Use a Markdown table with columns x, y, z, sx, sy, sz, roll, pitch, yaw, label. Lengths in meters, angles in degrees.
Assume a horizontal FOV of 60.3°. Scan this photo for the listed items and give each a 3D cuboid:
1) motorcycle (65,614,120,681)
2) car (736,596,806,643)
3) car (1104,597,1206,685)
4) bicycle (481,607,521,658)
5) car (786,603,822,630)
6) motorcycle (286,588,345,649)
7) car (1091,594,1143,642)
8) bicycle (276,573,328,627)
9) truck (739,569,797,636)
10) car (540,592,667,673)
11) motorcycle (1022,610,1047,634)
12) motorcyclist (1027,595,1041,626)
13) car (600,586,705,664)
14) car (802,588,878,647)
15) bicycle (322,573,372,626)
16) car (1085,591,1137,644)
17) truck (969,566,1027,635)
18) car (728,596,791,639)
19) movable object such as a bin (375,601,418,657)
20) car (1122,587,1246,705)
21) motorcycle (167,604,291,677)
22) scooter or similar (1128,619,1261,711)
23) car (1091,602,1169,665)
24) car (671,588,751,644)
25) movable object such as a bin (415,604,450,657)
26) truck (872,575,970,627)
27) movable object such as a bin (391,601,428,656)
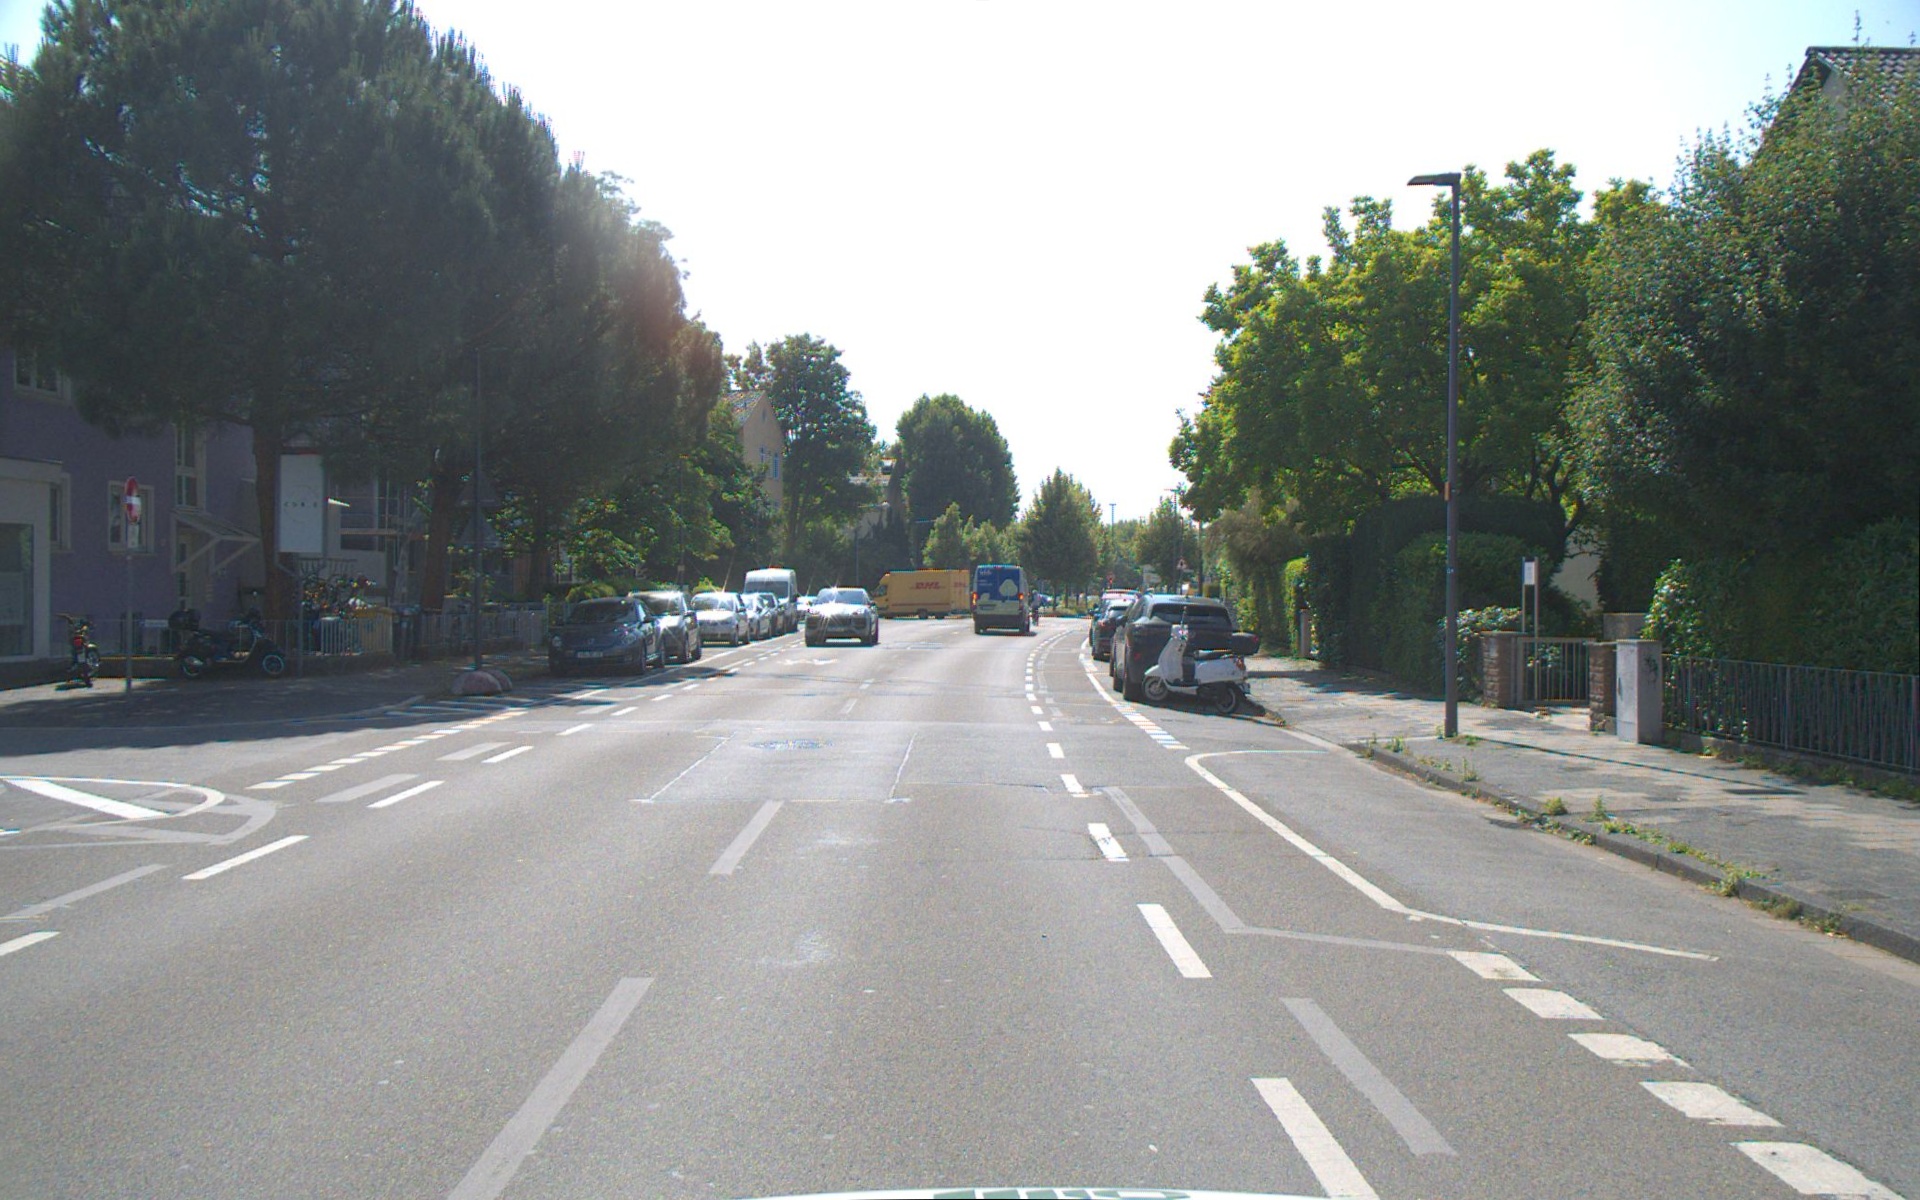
| x | y | z | sx | sy | sz | roll | pitch | yaw | label |
| --- | --- | --- | --- | --- | --- | --- | --- | --- | --- |
| -14.198 | 0.758 | 27.117 | 0.632 | 1.008 | 2.338 | 1 | 0 | -24 | motorcycle |
| -6.343 | 0.642 | 55.885 | 1.796 | 1.522 | 3.655 | 0 | 0 | 3 | car |
| 3.773 | 0.762 | 32.536 | 1.673 | 1.540 | 3.903 | 3 | 0 | 3 | car |
| -10.890 | 0.765 | 39.271 | 0.365 | 1.166 | 1.977 | 0 | -1 | 1 | bicycle |
| -8.303 | 0.866 | 88.425 | 1.719 | 1.367 | 3.652 | 0 | 0 | -2 | car |
| -12.945 | 0.369 | 33.255 | 0.525 | 1.202 | 1.447 | 0 | -1 | 4 | motorcycle |
| 5.765 | 0.641 | 61.165 | 1.665 | 1.706 | 3.775 | 0 | 0 | 2 | car |
| -15.147 | -0.002 | 38.091 | 0.525 | 1.202 | 1.447 | 0 | 1 | 4 | bicycle |
| -7.685 | 0.111 | 66.698 | 2.039 | 2.582 | 5.462 | 0 | 0 | -4 | truck |
| -7.001 | 0.616 | 32.868 | 1.745 | 1.485 | 4.084 | -1 | 0 | -2 | car |
| 3.642 | 1.077 | 81.141 | 1.035 | 1.142 | 2.991 | 0 | -1 | -1 | motorcycle |
| 3.615 | 0.522 | 81.060 | 0.658 | 1.545 | 0.652 | 0 | -1 | -1 | motorcyclist |
| -7.093 | 0.539 | 38.582 | 1.871 | 1.706 | 4.256 | 0 | 0 | -3 | car |
| -3.583 | 0.505 | 50.168 | 1.953 | 1.686 | 4.604 | 0 | 0 | 0 | car |
| -14.238 | -0.006 | 38.442 | 0.525 | 1.202 | 1.447 | 0 | -1 | 4 | bicycle |
| 5.139 | 0.581 | 55.893 | 1.664 | 1.706 | 3.777 | 0 | 0 | 6 | car |
| 1.516 | 0.035 | 65.699 | 2.225 | 2.616 | 4.393 | 0 | -1 | 2 | truck |
| -7.337 | 0.635 | 60.758 | 1.718 | 1.522 | 3.655 | 0 | 0 | 3 | car |
| -11.397 | 0.584 | 33.479 | 0.592 | 1.131 | 0.663 | 0 | -1 | 4 | movable object such as a bin |
| 3.522 | 0.698 | 26.673 | 1.747 | 1.667 | 4.473 | 2 | 0 | 5 | car |
| -12.347 | 0.684 | 27.960 | 1.800 | 1.202 | 0.643 | 0 | -1 | 4 | motorcycle |
| 3.359 | 0.930 | 23.788 | 1.767 | 1.174 | 0.715 | 4 | -1 | 44 | scooter or similar |
| 4.237 | 0.819 | 41.799 | 1.747 | 1.424 | 4.326 | 3 | 0 | 4 | car |
| -7.412 | 0.491 | 49.529 | 1.797 | 1.623 | 3.774 | 0 | -1 | 0 | car |
| -11.271 | 0.651 | 35.353 | 0.532 | 1.131 | 0.585 | 0 | -1 | 4 | movable object such as a bin |
| -2.301 | 0.071 | 97.506 | 5.570 | 2.998 | 2.213 | 0 | -1 | 35 | truck |
| -11.339 | 0.586 | 34.058 | 0.592 | 1.131 | 0.431 | 0 | -1 | 4 | movable object such as a bin |
